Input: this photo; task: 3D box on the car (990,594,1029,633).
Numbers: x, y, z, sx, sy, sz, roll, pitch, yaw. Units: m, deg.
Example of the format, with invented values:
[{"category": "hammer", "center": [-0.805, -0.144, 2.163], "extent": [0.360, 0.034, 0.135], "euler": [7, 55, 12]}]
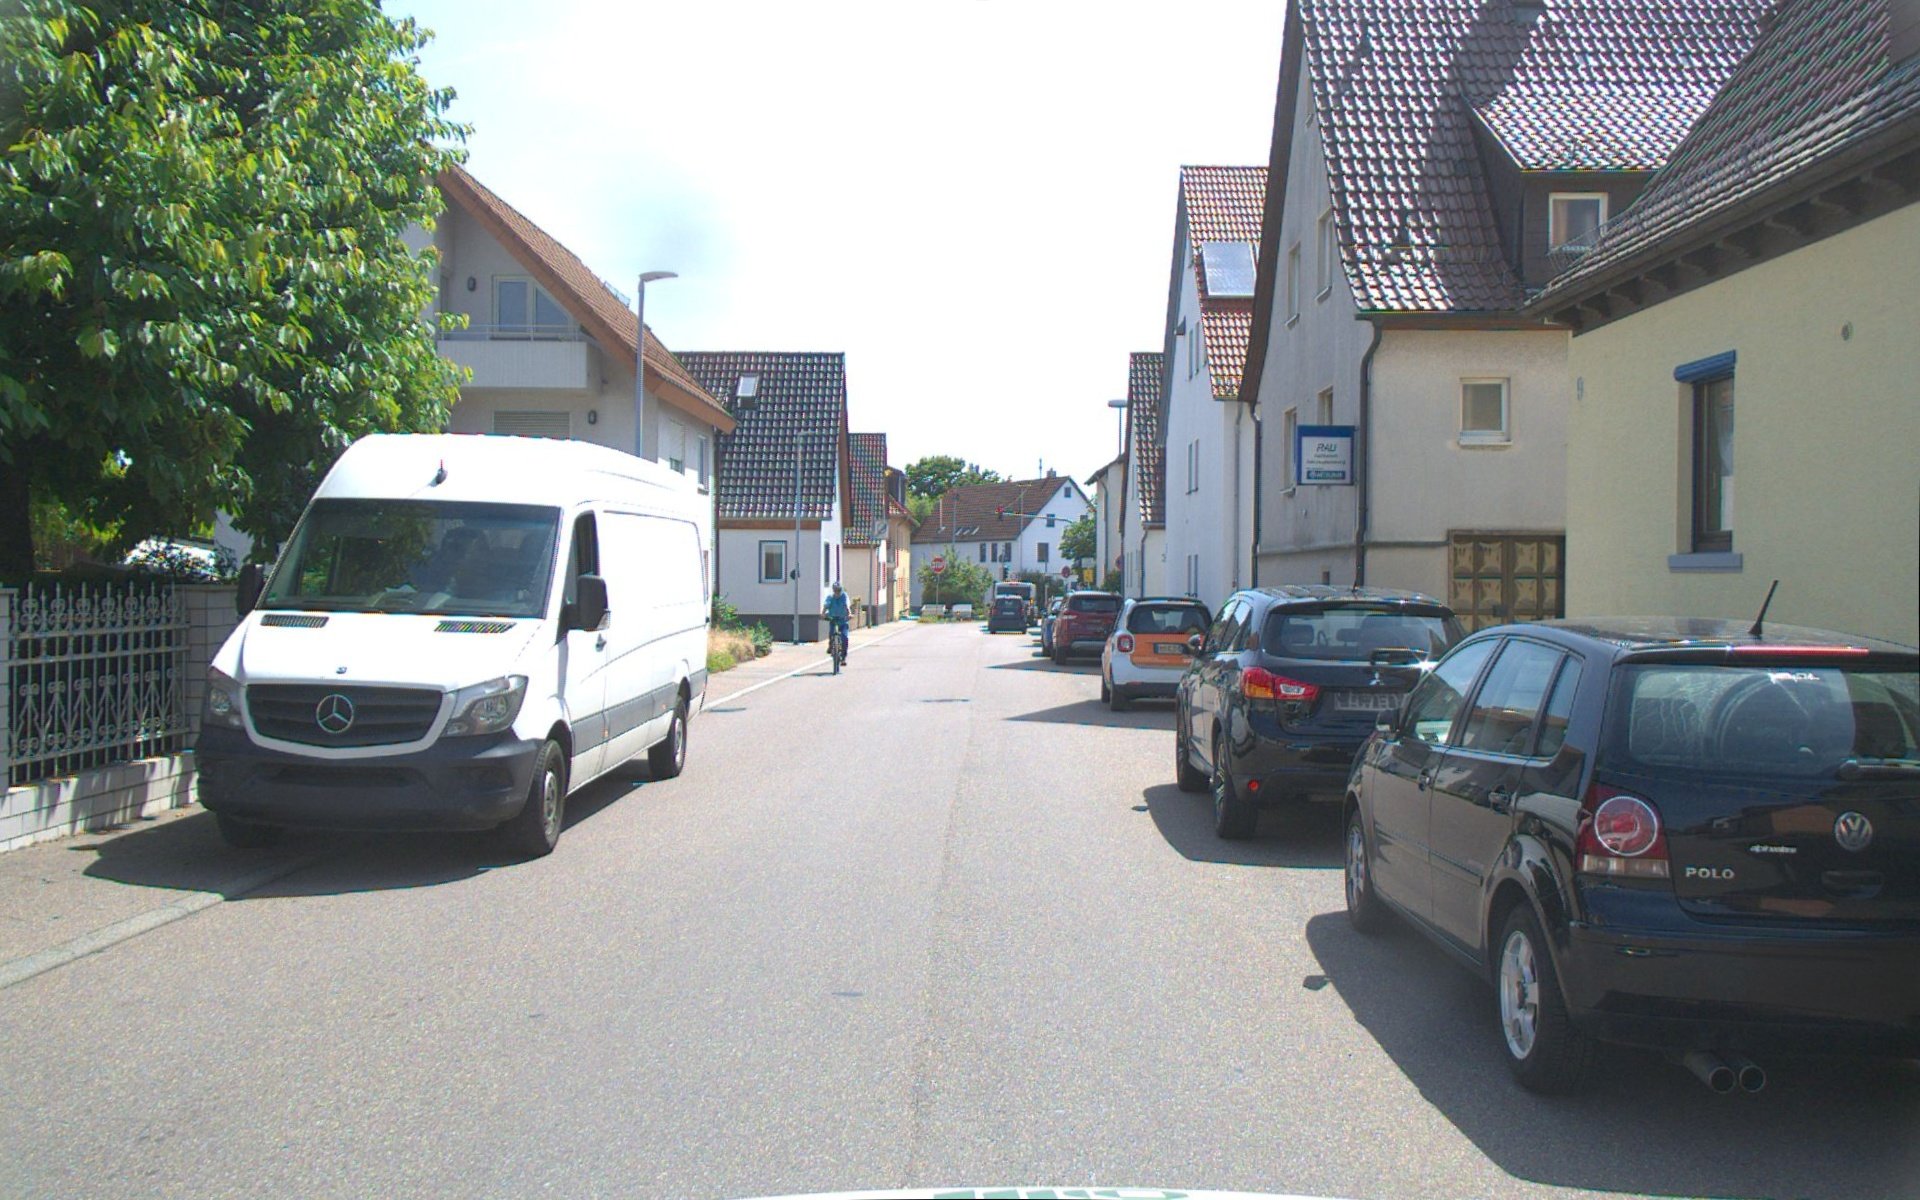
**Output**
[{"category": "car", "center": [2.133, 0.552, 69.982], "extent": [1.484, 1.594, 3.186], "euler": [1, 0, 4]}]

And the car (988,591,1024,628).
[{"category": "car", "center": [2.110, 0.426, 75.050], "extent": [1.484, 1.653, 3.186], "euler": [0, 0, 4]}]

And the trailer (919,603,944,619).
[{"category": "trailer", "center": [-1.716, 0.659, 99.983], "extent": [1.470, 0.943, 1.012], "euler": [2, 0, 2]}]

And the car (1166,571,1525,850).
[{"category": "car", "center": [2.562, 0.647, 11.992], "extent": [1.693, 1.627, 4.254], "euler": [1, 0, 1]}]

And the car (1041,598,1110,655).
[{"category": "car", "center": [3.099, 0.684, 45.149], "extent": [1.726, 1.448, 4.593], "euler": [1, 0, 2]}]

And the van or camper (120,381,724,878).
[{"category": "van or camper", "center": [-3.370, 0.141, 12.263], "extent": [2.139, 2.616, 6.807], "euler": [1, 0, 1]}]

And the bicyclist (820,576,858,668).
[{"category": "bicyclist", "center": [-2.445, 0.433, 33.492], "extent": [0.698, 1.830, 0.942], "euler": [1, 0, -1]}]

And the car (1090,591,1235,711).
[{"category": "car", "center": [2.857, 0.682, 23.830], "extent": [1.639, 1.586, 3.039], "euler": [1, 0, -1]}]

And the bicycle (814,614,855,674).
[{"category": "bicycle", "center": [-2.530, 0.871, 33.585], "extent": [0.656, 1.152, 2.189], "euler": [1, 0, 0]}]

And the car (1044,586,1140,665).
[{"category": "car", "center": [3.050, 0.561, 38.926], "extent": [1.837, 1.730, 4.182], "euler": [1, 0, -1]}]

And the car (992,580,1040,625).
[{"category": "car", "center": [2.882, 0.109, 84.271], "extent": [2.083, 2.196, 4.740], "euler": [0, 0, 7]}]

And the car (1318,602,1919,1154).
[{"category": "car", "center": [2.583, 0.762, 6.351], "extent": [1.578, 1.456, 3.754], "euler": [1, 0, 0]}]
